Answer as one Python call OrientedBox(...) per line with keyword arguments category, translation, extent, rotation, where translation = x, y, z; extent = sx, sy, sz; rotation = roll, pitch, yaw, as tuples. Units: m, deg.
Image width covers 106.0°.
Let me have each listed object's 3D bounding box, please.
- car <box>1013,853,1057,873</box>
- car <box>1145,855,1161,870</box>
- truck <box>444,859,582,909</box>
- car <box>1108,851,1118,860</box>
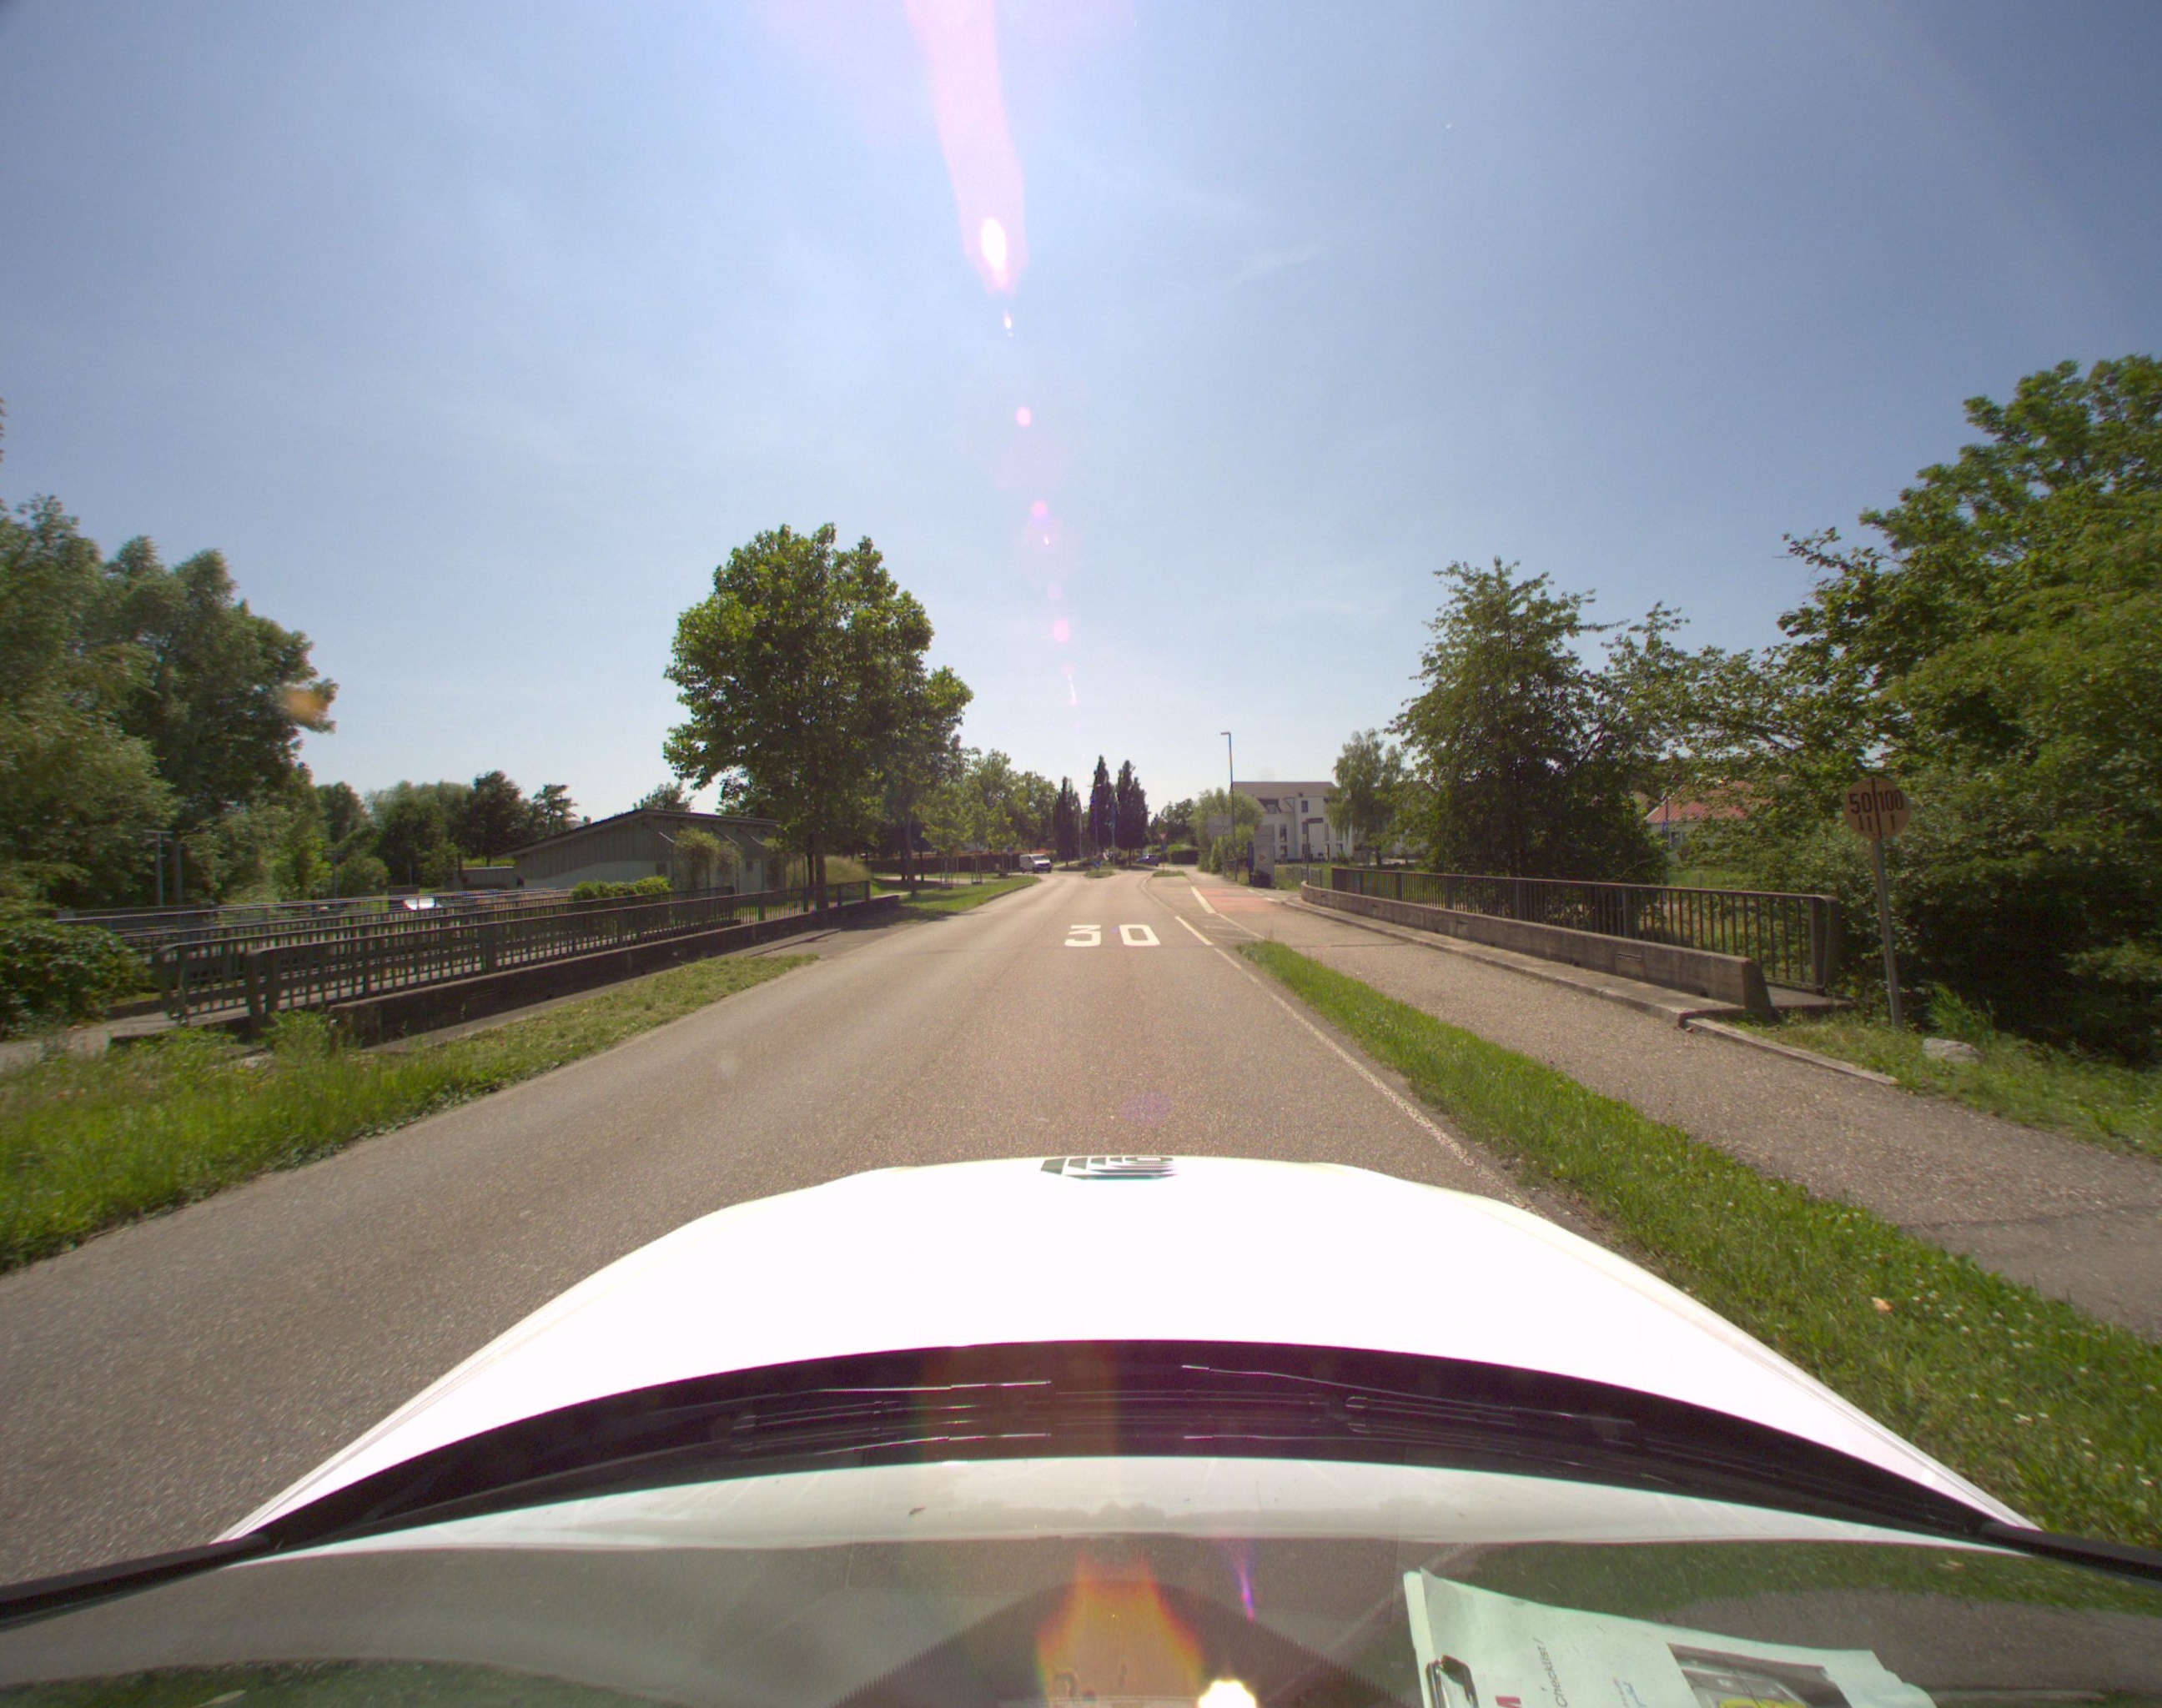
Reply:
OrientedBox(category="car", translation=(-4.899, 0.948, 85.931), extent=(2.144, 2.014, 5.090), rotation=(0, -1, -38))
OrientedBox(category="car", translation=(8.998, 1.043, 102.010), extent=(1.915, 1.886, 4.002), rotation=(0, -1, 2))
OrientedBox(category="truck", translation=(-27.521, 1.392, 39.750), extent=(2.976, 2.216, 5.173), rotation=(-1, 0, 1))
OrientedBox(category="car", translation=(6.147, 0.255, 156.939), extent=(1.986, 1.770, 4.002), rotation=(0, -1, 2))
